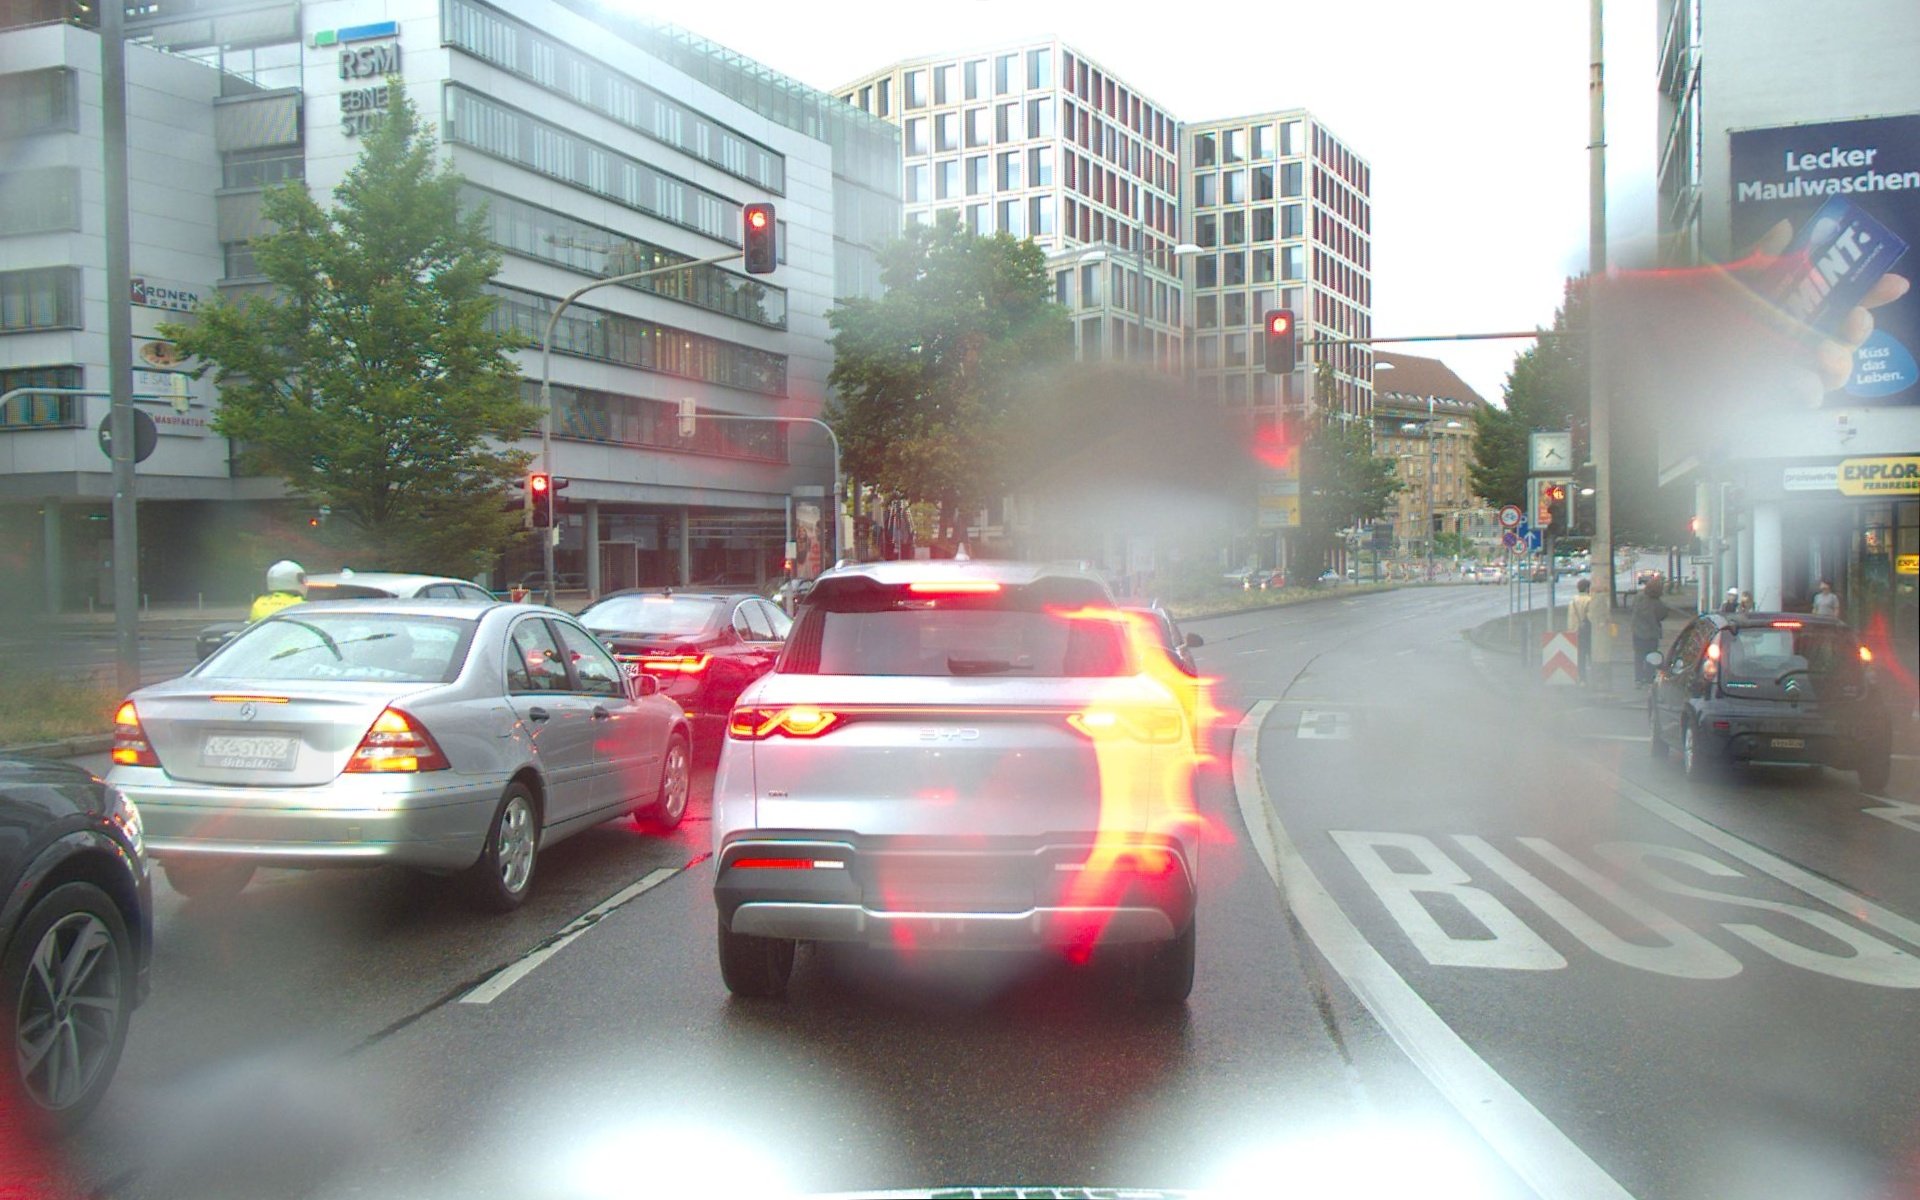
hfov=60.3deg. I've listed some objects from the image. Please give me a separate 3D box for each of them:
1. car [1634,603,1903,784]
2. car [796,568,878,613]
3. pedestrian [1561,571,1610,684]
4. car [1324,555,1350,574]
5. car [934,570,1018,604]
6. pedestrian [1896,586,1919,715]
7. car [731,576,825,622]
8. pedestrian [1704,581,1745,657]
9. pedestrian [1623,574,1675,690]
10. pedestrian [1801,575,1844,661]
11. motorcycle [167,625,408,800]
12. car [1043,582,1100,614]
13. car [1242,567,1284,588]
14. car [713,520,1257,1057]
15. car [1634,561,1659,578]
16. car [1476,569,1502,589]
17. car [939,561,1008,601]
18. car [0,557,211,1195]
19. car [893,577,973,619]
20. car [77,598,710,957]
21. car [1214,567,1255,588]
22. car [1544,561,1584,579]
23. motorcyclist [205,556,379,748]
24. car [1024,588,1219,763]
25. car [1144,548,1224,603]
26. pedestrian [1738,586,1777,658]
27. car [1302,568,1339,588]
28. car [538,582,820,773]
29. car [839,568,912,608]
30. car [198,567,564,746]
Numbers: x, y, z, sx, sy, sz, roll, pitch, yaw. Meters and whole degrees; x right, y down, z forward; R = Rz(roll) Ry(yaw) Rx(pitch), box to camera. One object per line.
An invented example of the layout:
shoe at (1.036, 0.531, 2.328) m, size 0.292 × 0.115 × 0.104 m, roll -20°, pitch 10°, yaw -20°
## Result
car at (7.480, 0.781, 15.651) m, size 1.537 × 1.454 × 4.003 m, roll 1°, pitch 0°, yaw 15°
car at (-4.379, -0.347, 59.452) m, size 1.609 × 1.563 × 4.155 m, roll 1°, pitch 0°, yaw 16°
pedestrian at (10.281, 0.440, 27.205) m, size 0.733 × 1.829 × 0.817 m, roll 0°, pitch 1°, yaw 20°
car at (37.404, -3.482, 164.020) m, size 1.577 × 1.771 × 3.437 m, roll 1°, pitch 0°, yaw 31°
car at (0.802, -0.644, 77.997) m, size 1.778 × 1.536 × 5.190 m, roll 0°, pitch 1°, yaw 27°
pedestrian at (13.448, 0.694, 22.847) m, size 0.753 × 1.762 × 0.597 m, roll 0°, pitch 0°, yaw 13°
car at (-6.746, -0.051, 61.644) m, size 1.952 × 1.639 × 4.001 m, roll 1°, pitch 1°, yaw 20°
pedestrian at (17.183, 0.411, 37.169) m, size 0.659 × 1.684 × 0.649 m, roll 1°, pitch 0°, yaw 43°
pedestrian at (11.122, 0.503, 26.710) m, size 0.733 × 1.829 × 0.817 m, roll 0°, pitch 1°, yaw 20°
pedestrian at (18.753, 0.383, 35.957) m, size 0.659 × 1.825 × 0.768 m, roll 1°, pitch 0°, yaw 43°
motorcycle at (-5.125, 0.812, 12.776) m, size 0.783 × 1.205 × 2.030 m, roll 1°, pitch 0°, yaw 8°
car at (5.922, -0.130, 87.566) m, size 1.598 × 1.586 × 4.592 m, roll 0°, pitch 1°, yaw 23°
car at (21.868, -1.641, 119.238) m, size 1.955 × 1.514 × 3.996 m, roll 0°, pitch 1°, yaw 27°
car at (0.124, 0.616, 7.359) m, size 1.739 × 1.708 × 4.000 m, roll 1°, pitch 0°, yaw 1°
car at (62.878, -2.794, 151.467) m, size 1.662 × 1.512 × 3.993 m, roll 1°, pitch 0°, yaw 29°
car at (44.886, -1.810, 140.386) m, size 1.849 × 1.671 × 4.000 m, roll 1°, pitch 1°, yaw 22°
car at (0.613, -0.790, 69.952) m, size 1.610 × 1.608 × 4.086 m, roll 1°, pitch 0°, yaw 21°
car at (-3.120, 0.669, 2.963) m, size 1.614 × 1.548 × 4.271 m, roll 1°, pitch 1°, yaw 0°
car at (-0.914, -0.047, 58.687) m, size 1.655 × 1.409 × 3.870 m, roll 1°, pitch 0°, yaw 18°
car at (-2.655, 0.731, 8.844) m, size 1.537 × 1.432 × 4.112 m, roll 1°, pitch 0°, yaw 7°
car at (20.494, -1.664, 123.228) m, size 1.955 × 1.514 × 3.996 m, roll 0°, pitch 1°, yaw 27°
car at (70.150, -3.527, 192.010) m, size 3.927 × 2.049 × 1.989 m, roll 1°, pitch 1°, yaw 41°
motorcyclist at (-5.129, 0.384, 12.765) m, size 0.753 × 1.404 × 1.119 m, roll 1°, pitch 0°, yaw 8°
car at (1.736, 0.676, 16.652) m, size 1.657 × 1.512 × 4.003 m, roll 1°, pitch 0°, yaw 10°
car at (8.880, -0.939, 65.251) m, size 1.953 × 2.049 × 4.848 m, roll 1°, pitch 0°, yaw 22°
pedestrian at (17.684, 0.488, 36.661) m, size 0.615 × 1.570 × 0.649 m, roll 1°, pitch 0°, yaw 43°
car at (28.271, -1.730, 129.571) m, size 1.955 × 1.514 × 3.996 m, roll 0°, pitch 1°, yaw 27°
car at (-2.451, 0.634, 15.387) m, size 1.537 × 1.512 × 4.003 m, roll 1°, pitch 0°, yaw 6°
car at (-3.476, -0.496, 68.861) m, size 1.605 × 1.598 × 3.718 m, roll 1°, pitch 0°, yaw 22°
car at (-5.462, 0.491, 16.184) m, size 1.670 × 1.512 × 4.003 m, roll 1°, pitch 0°, yaw 9°
